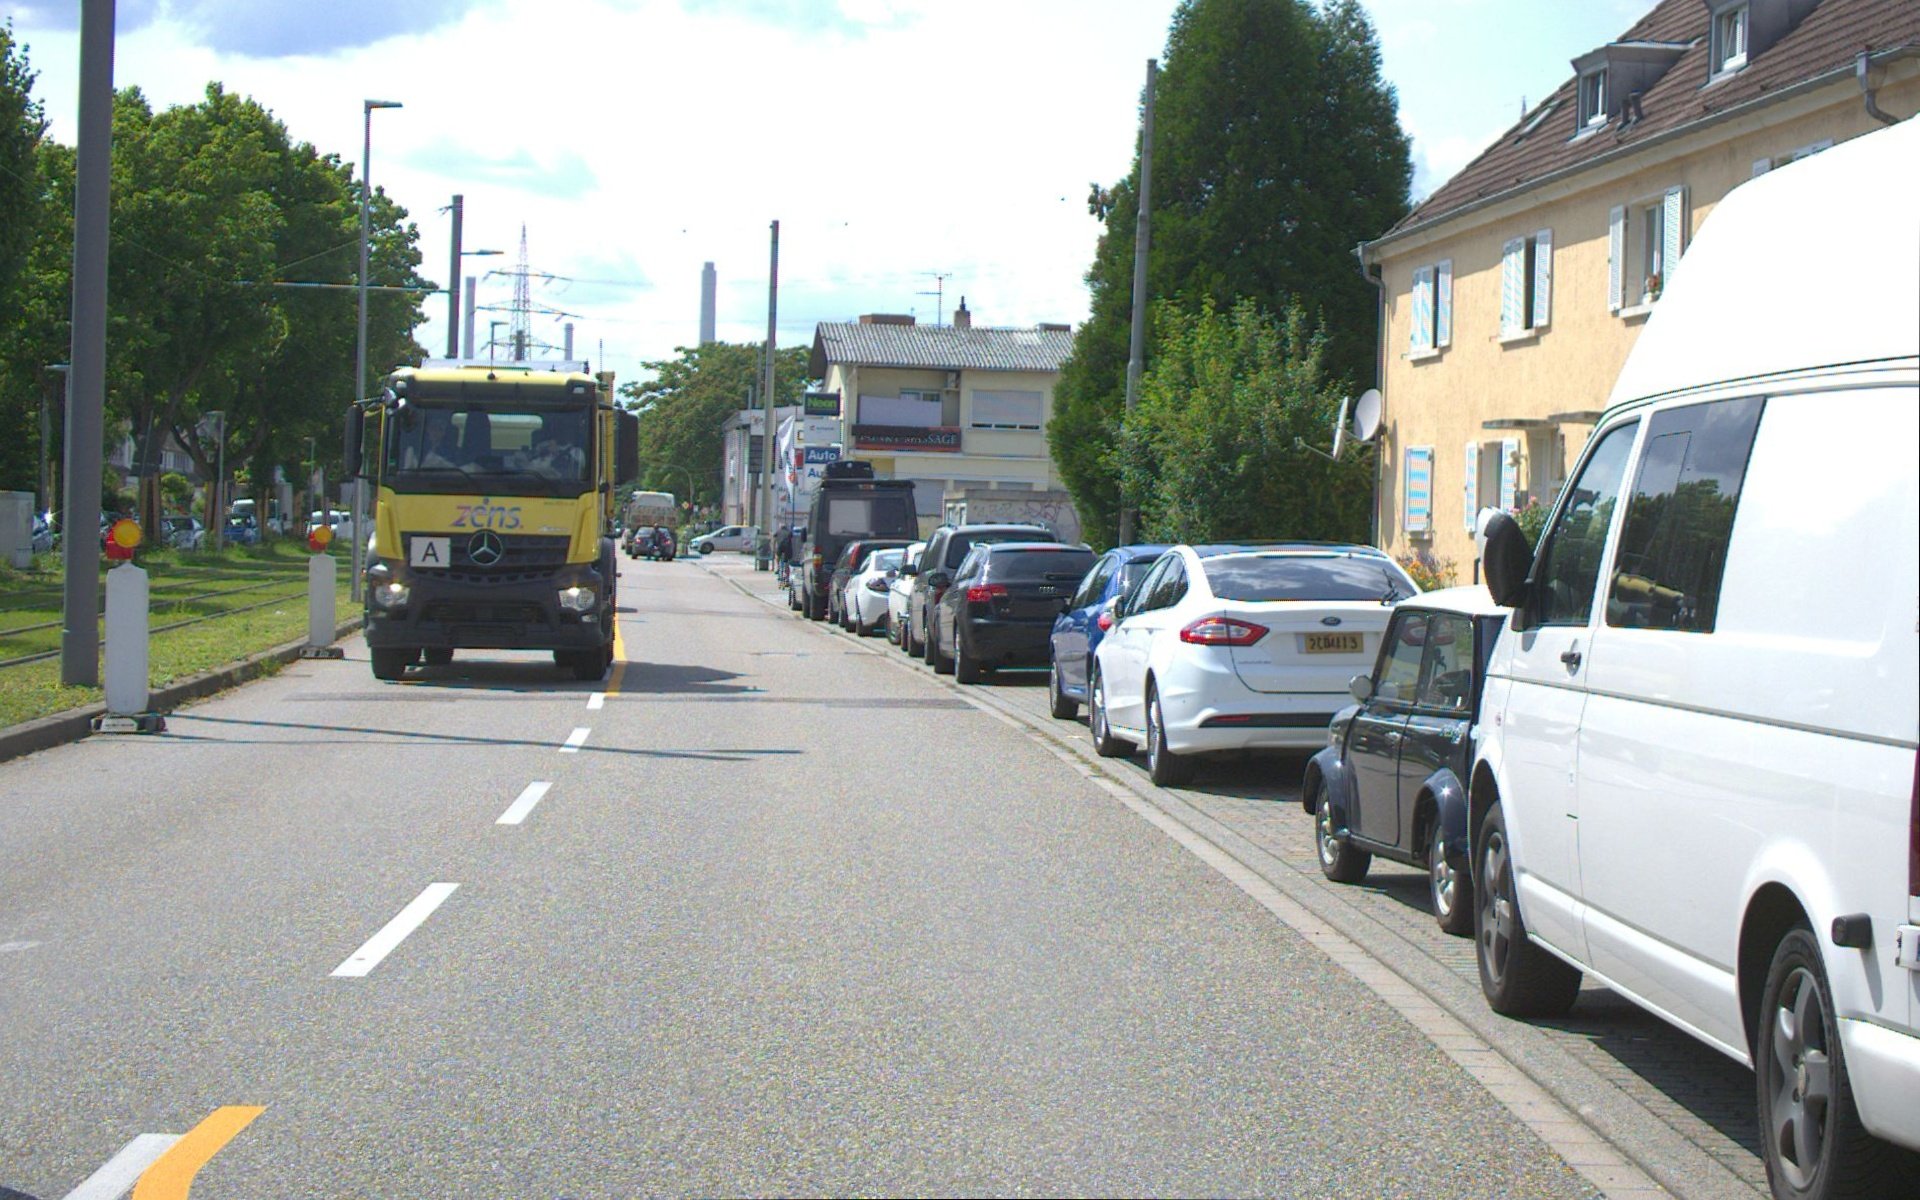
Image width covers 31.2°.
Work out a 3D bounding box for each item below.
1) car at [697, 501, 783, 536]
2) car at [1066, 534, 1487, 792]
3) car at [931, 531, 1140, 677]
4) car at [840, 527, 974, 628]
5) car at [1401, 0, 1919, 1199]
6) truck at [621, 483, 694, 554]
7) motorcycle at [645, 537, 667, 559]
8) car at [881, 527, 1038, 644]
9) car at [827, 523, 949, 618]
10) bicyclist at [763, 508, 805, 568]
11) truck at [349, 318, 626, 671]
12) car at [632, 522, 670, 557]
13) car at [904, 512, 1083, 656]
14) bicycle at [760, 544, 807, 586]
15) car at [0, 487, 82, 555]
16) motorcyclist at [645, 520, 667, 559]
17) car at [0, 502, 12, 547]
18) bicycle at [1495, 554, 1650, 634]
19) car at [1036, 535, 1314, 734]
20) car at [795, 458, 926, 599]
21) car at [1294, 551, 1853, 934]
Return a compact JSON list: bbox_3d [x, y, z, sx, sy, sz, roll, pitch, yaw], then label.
[{"bbox_3d":[-12.394,-4.610,193.782,4.640,1.816,1.836,1,1,-10],"label":"car"},{"bbox_3d":[1.882,0.320,21.959,1.798,1.453,4.766,0,1,-6],"label":"car"},{"bbox_3d":[0.735,0.001,36.084,1.763,1.412,4.001,0,2,-5],"label":"car"},{"bbox_3d":[-0.843,-0.373,52.346,1.763,1.434,4.001,0,2,-5],"label":"car"},{"bbox_3d":[2.566,0.061,9.007,1.929,2.472,5.518,1,1,-2],"label":"car"},{"bbox_3d":[-15.299,-4.073,173.289,3.220,3.390,11.357,1,1,-7],"label":"truck"},{"bbox_3d":[-13.379,-2.302,151.196,0.883,0.921,2.616,1,1,-6],"label":"motorcycle"},{"bbox_3d":[-0.054,-0.230,46.082,1.763,1.471,4.001,0,2,-5],"label":"car"},{"bbox_3d":[-1.239,-0.524,57.510,1.763,1.497,4.001,0,2,-5],"label":"car"},{"bbox_3d":[-4.727,-1.657,92.188,0.994,1.564,1.140,1,1,-8],"label":"bicyclist"},{"bbox_3d":[-4.972,-1.139,37.261,2.559,3.447,7.151,0,2,-5],"label":"truck"},{"bbox_3d":[-14.033,-2.773,156.111,1.568,1.493,4.150,1,1,-7],"label":"car"},{"bbox_3d":[0.356,-0.235,41.258,1.763,1.637,4.001,0,2,-5],"label":"car"},{"bbox_3d":[-4.739,-0.938,92.183,0.994,1.045,2.813,1,1,-8],"label":"bicycle"},{"bbox_3d":[-22.248,-1.875,81.960,1.878,1.547,4.379,1,1,-6],"label":"car"},{"bbox_3d":[-13.344,-2.658,150.942,0.883,1.661,1.109,1,1,-6],"label":"motorcyclist"},{"bbox_3d":[-34.095,-2.629,118.728,1.878,1.547,4.399,1,1,-6],"label":"car"},{"bbox_3d":[7.671,-0.078,43.042,1.859,0.952,0.367,1,1,-9],"label":"bicycle"},{"bbox_3d":[1.624,0.216,27.209,1.620,1.412,4.001,0,2,-5],"label":"car"},{"bbox_3d":[-1.901,-1.337,63.559,1.959,2.470,6.061,0,2,-6],"label":"car"},{"bbox_3d":[2.354,0.488,13.905,1.341,1.336,3.288,2,1,-6],"label":"car"}]
